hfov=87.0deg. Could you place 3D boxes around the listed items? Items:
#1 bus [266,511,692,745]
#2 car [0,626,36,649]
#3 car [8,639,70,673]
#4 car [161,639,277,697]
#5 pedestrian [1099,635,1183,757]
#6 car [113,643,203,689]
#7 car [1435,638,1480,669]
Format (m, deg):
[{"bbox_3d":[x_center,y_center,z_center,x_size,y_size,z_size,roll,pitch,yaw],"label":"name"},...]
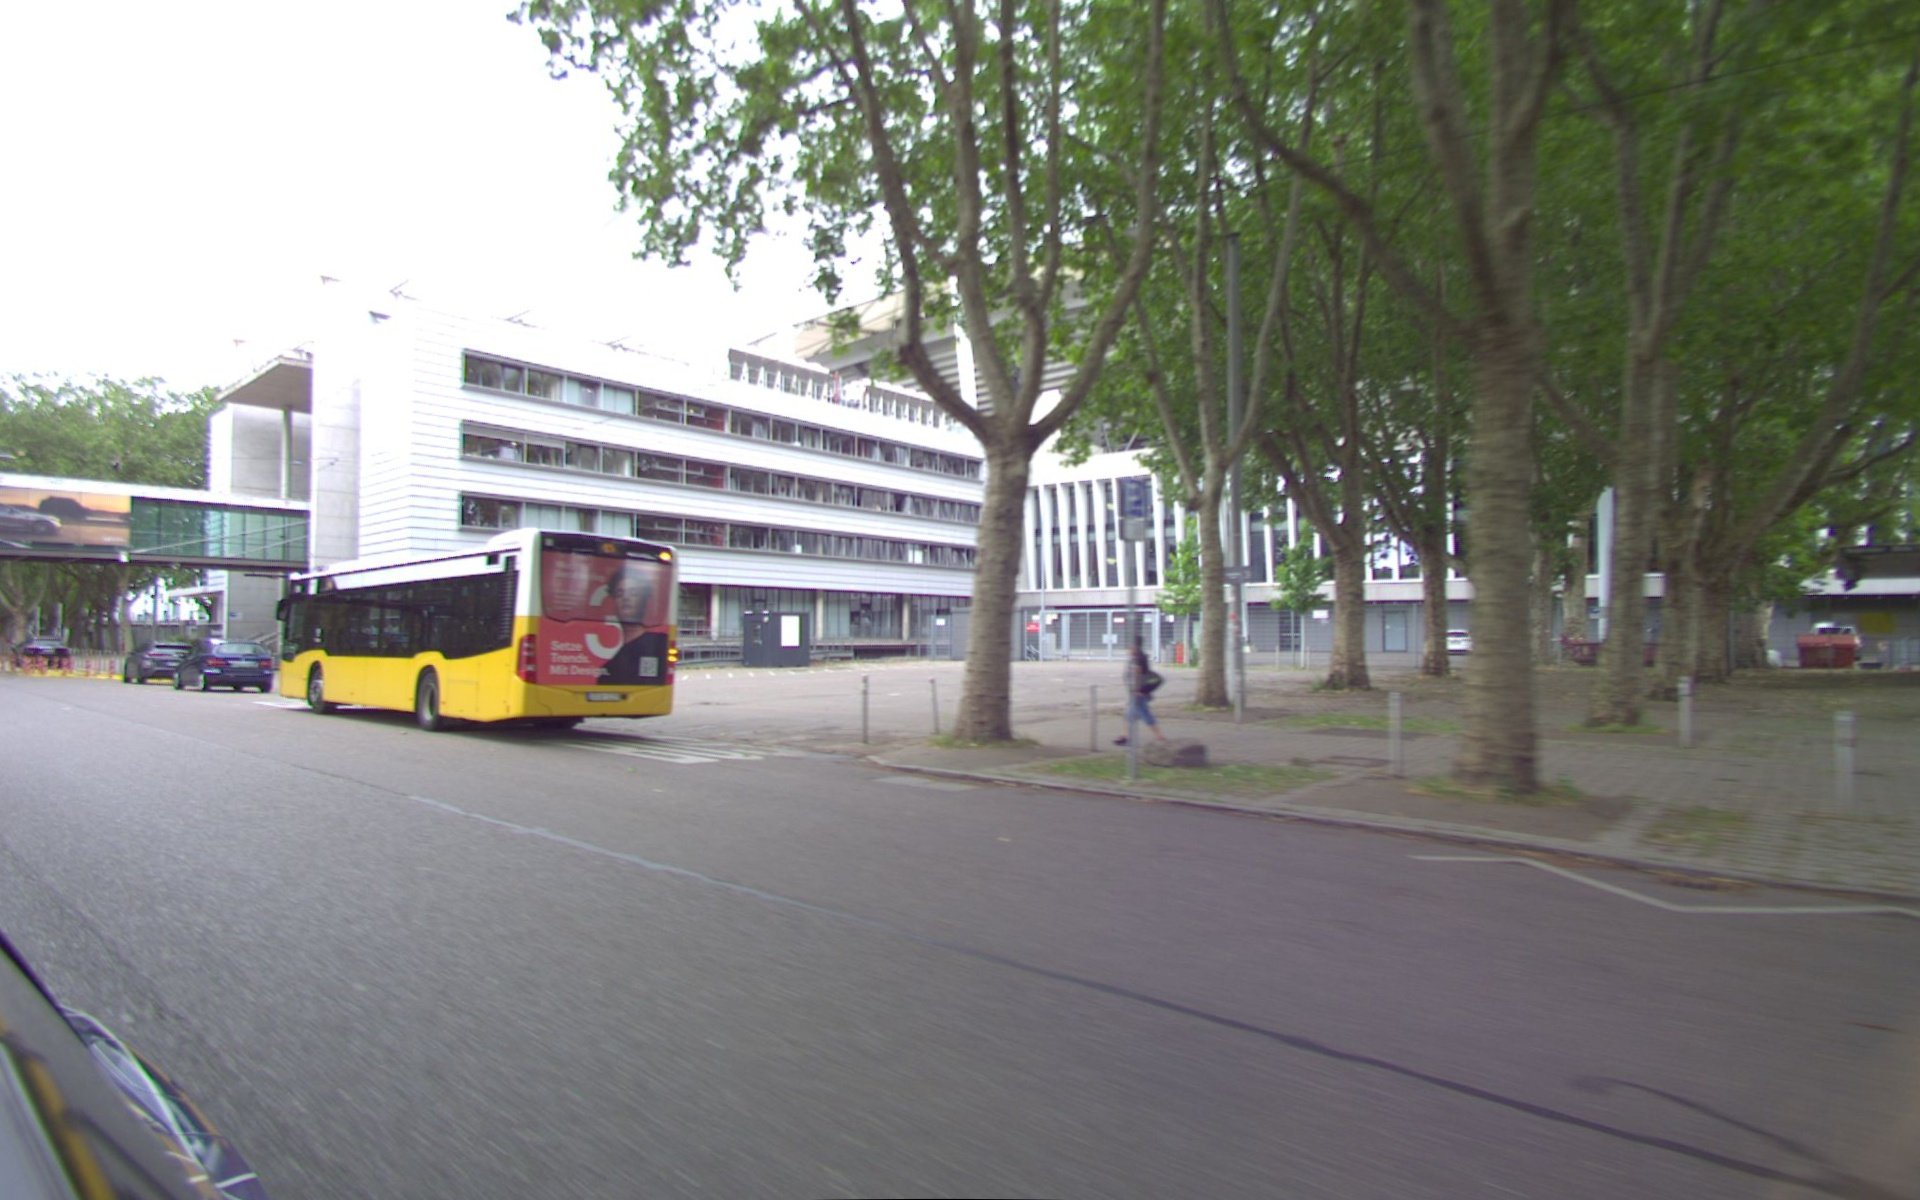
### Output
[{"bbox_3d":[-9.638,0.635,18.903,12.367,3.179,2.622,-2,-6,43],"label":"bus"},{"bbox_3d":[-64.784,2.592,69.369,3.801,1.480,1.640,-2,-7,41],"label":"car"},{"bbox_3d":[-50.509,3.057,55.479,4.231,1.744,1.904,-2,-7,41],"label":"car"},{"bbox_3d":[-22.621,2.051,30.849,4.384,1.578,1.736,-2,-7,40],"label":"car"},{"bbox_3d":[2.495,1.289,13.959,0.912,1.601,0.655,-2,-2,41],"label":"pedestrian"},{"bbox_3d":[-28.954,2.355,36.523,4.007,1.526,1.735,-2,-7,41],"label":"car"},{"bbox_3d":[28.247,3.001,57.363,1.992,1.674,3.959,-2,-3,30],"label":"car"}]
